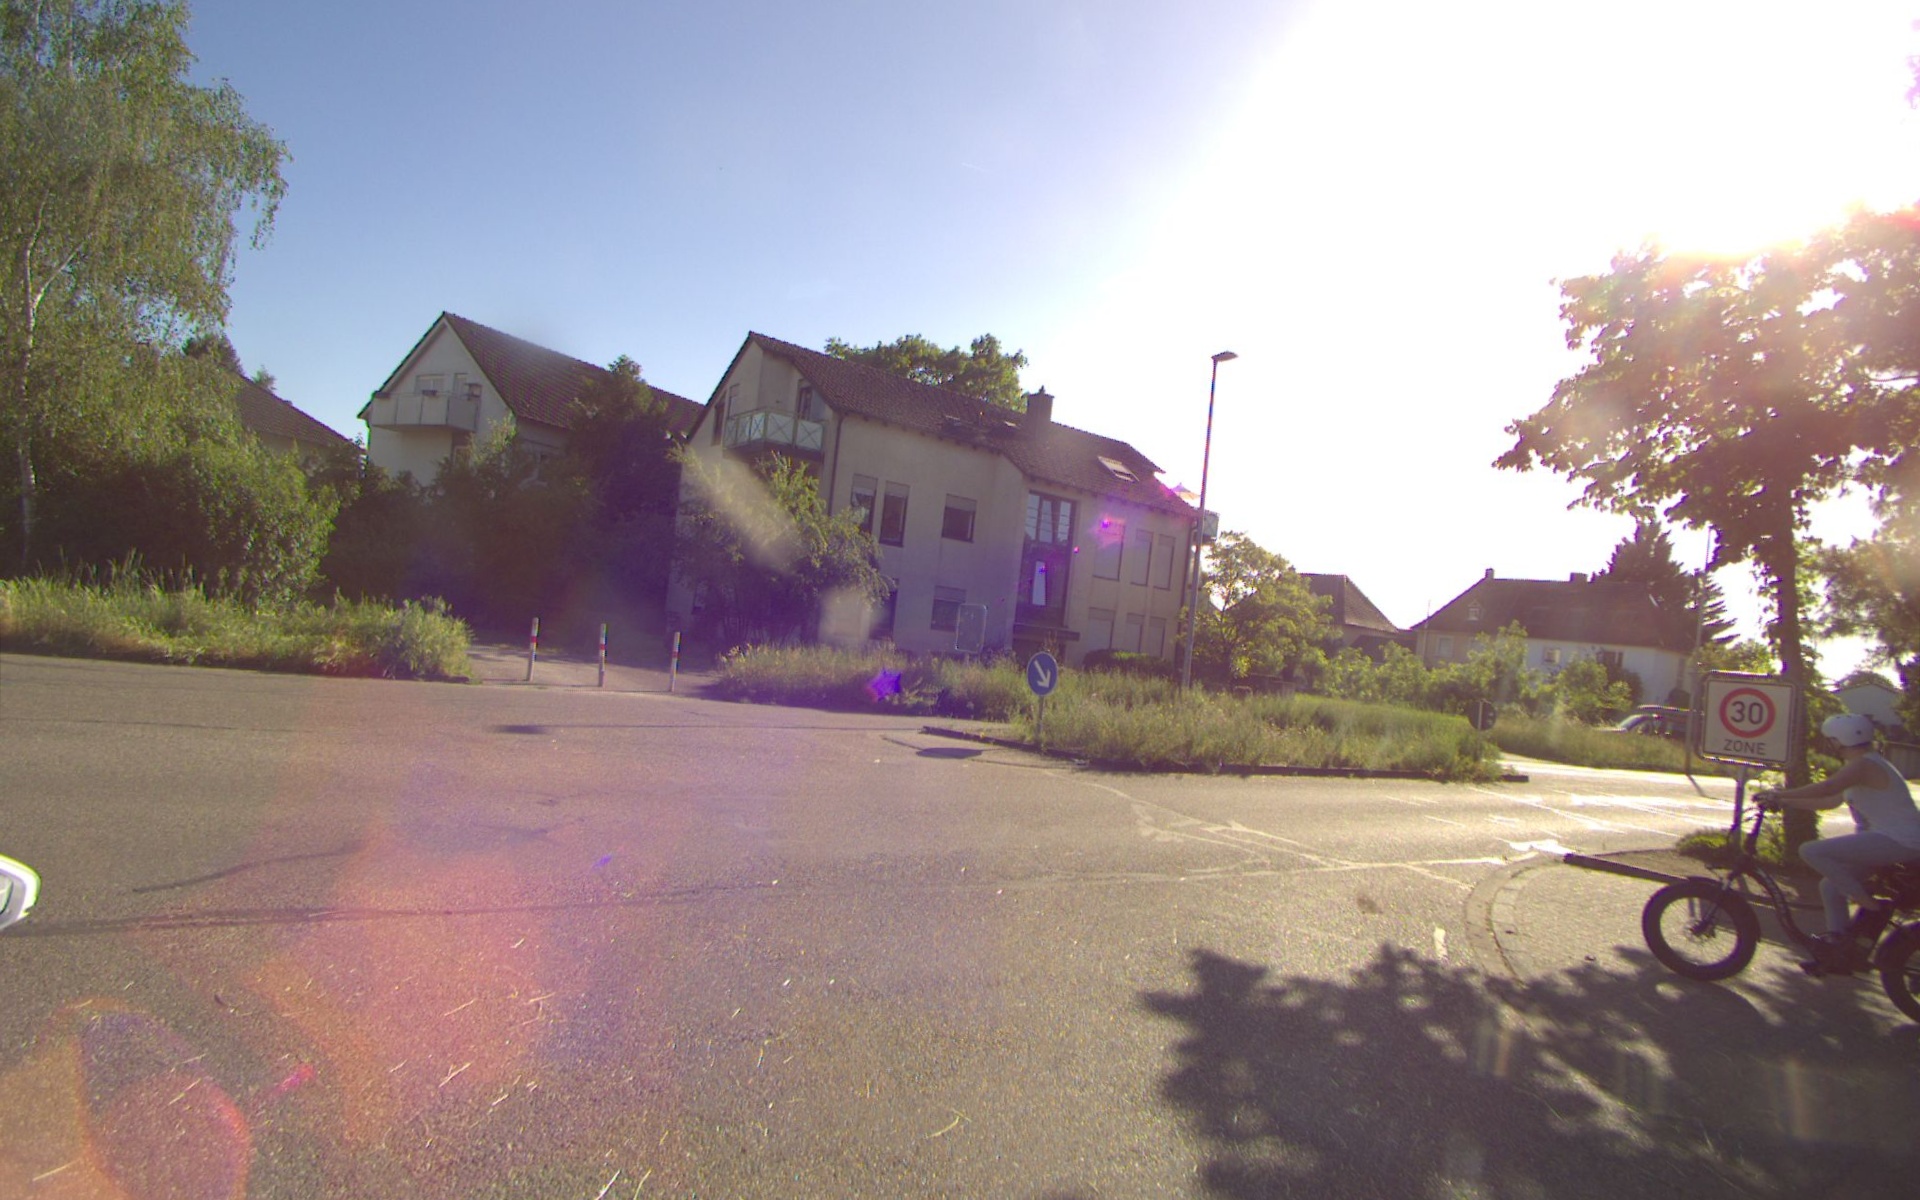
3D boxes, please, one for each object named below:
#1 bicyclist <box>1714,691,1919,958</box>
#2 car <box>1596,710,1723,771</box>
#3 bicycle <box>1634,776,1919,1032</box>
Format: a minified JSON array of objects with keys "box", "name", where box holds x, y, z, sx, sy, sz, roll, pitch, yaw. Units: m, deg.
[{"box":[5.138,1.274,5.990,0.824,1.363,0.638,6,-1,27],"name":"bicyclist"},{"box":[27.143,5.420,39.180,3.582,1.737,1.749,6,-1,20],"name":"car"},{"box":[5.179,1.797,5.915,1.865,1.158,0.458,7,0,27],"name":"bicycle"}]
